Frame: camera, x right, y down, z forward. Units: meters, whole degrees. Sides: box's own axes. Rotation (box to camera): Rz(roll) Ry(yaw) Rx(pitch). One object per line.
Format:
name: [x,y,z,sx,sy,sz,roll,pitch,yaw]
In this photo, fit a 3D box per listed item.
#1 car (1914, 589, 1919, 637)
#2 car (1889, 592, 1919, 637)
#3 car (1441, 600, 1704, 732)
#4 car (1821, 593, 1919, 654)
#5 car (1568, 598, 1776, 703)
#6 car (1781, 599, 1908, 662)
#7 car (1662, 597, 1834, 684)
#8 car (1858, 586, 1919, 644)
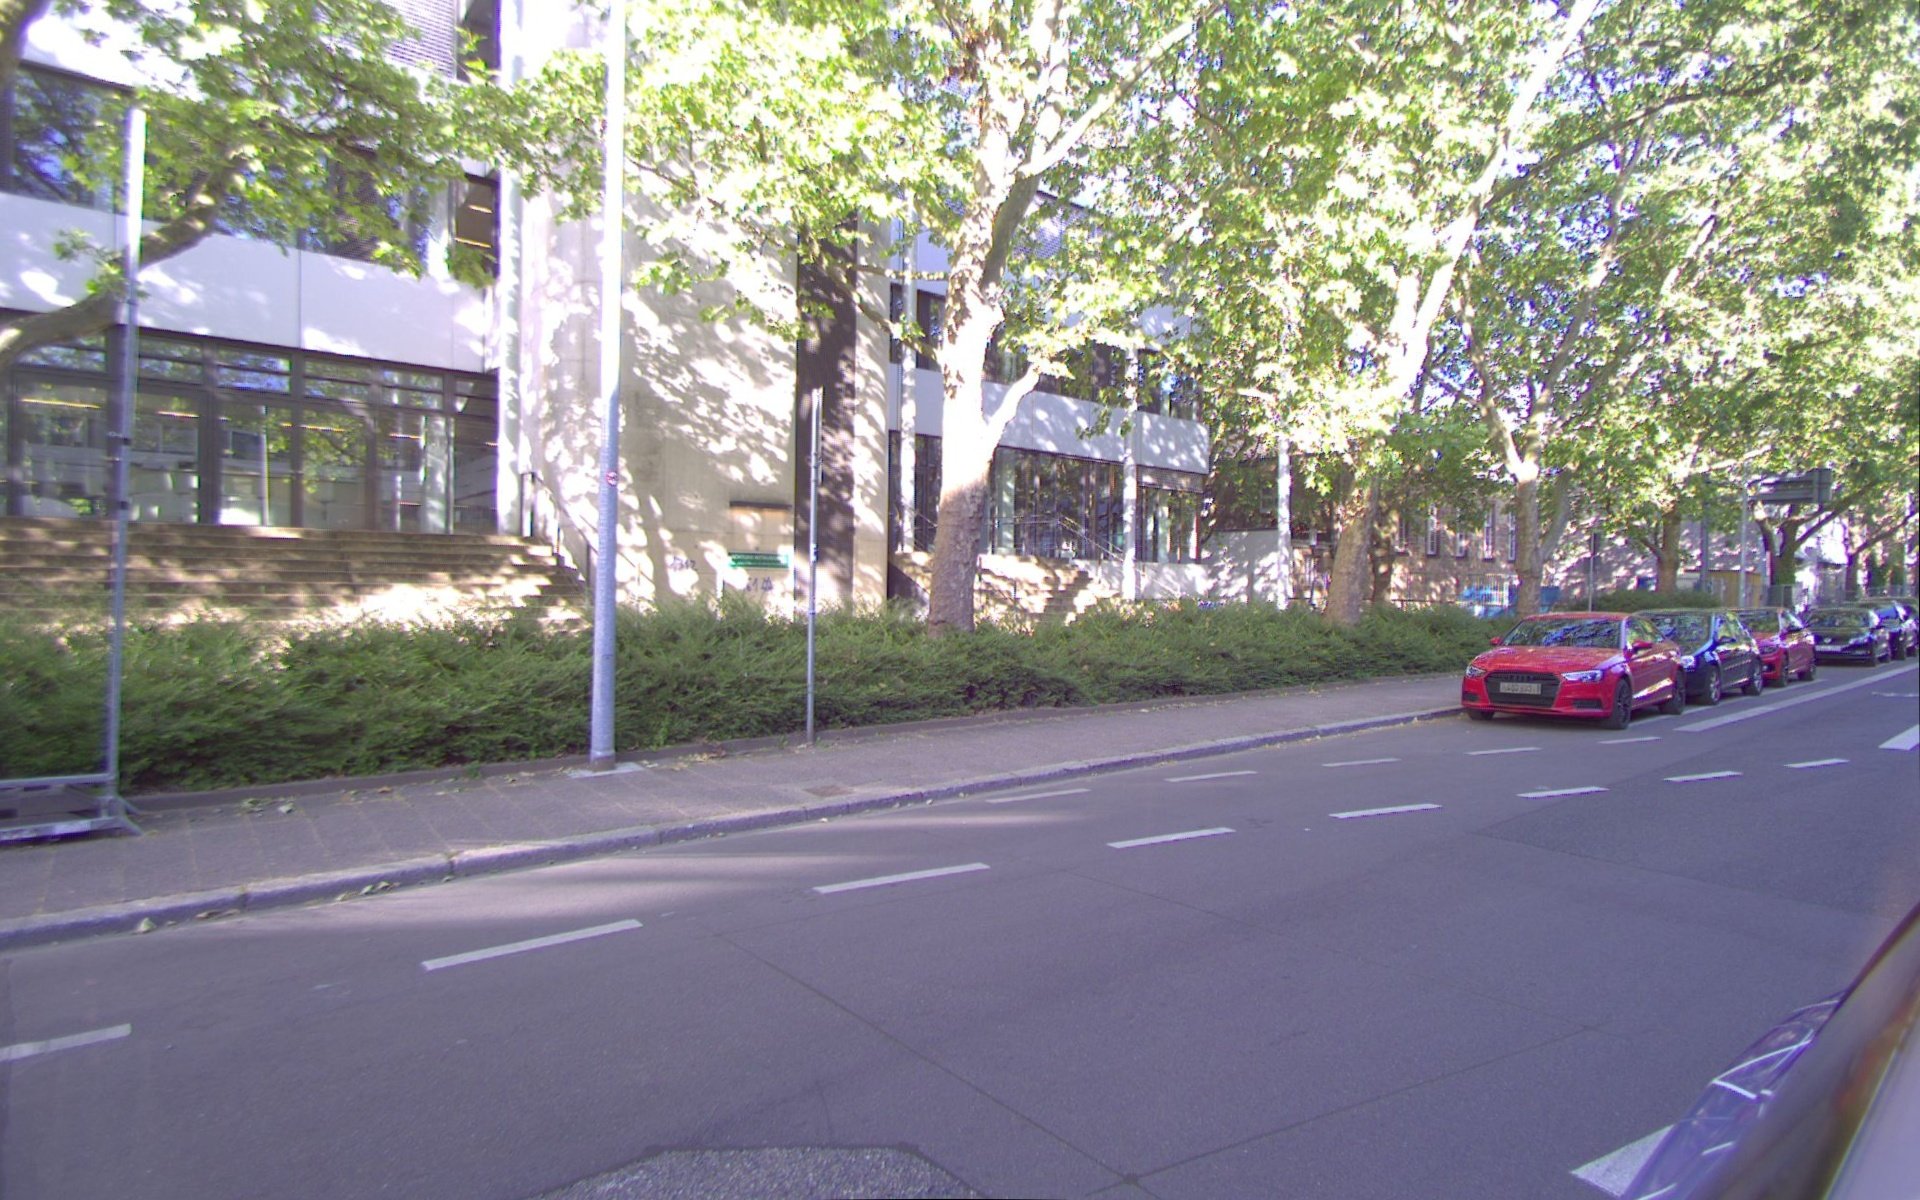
car: [39.589,0.485,40.252,3.930,1.872,1.997,-1,0,-41]
car: [36.033,0.524,37.451,4.070,1.585,1.997,-1,0,-41]
car: [8.251,0.753,13.515,3.930,1.443,1.906,-1,1,-41]
car: [26.523,0.609,29.178,4.070,1.621,1.997,-1,0,-41]
car: [11.731,0.730,16.606,3.581,1.478,1.997,-1,1,-41]
car: [22.794,0.721,26.053,3.527,1.474,1.997,-1,1,-41]
car: [15.645,0.718,20.048,3.762,1.517,1.997,-1,1,-41]
car: [31.258,0.450,33.303,4.493,1.809,1.997,-1,0,-41]
